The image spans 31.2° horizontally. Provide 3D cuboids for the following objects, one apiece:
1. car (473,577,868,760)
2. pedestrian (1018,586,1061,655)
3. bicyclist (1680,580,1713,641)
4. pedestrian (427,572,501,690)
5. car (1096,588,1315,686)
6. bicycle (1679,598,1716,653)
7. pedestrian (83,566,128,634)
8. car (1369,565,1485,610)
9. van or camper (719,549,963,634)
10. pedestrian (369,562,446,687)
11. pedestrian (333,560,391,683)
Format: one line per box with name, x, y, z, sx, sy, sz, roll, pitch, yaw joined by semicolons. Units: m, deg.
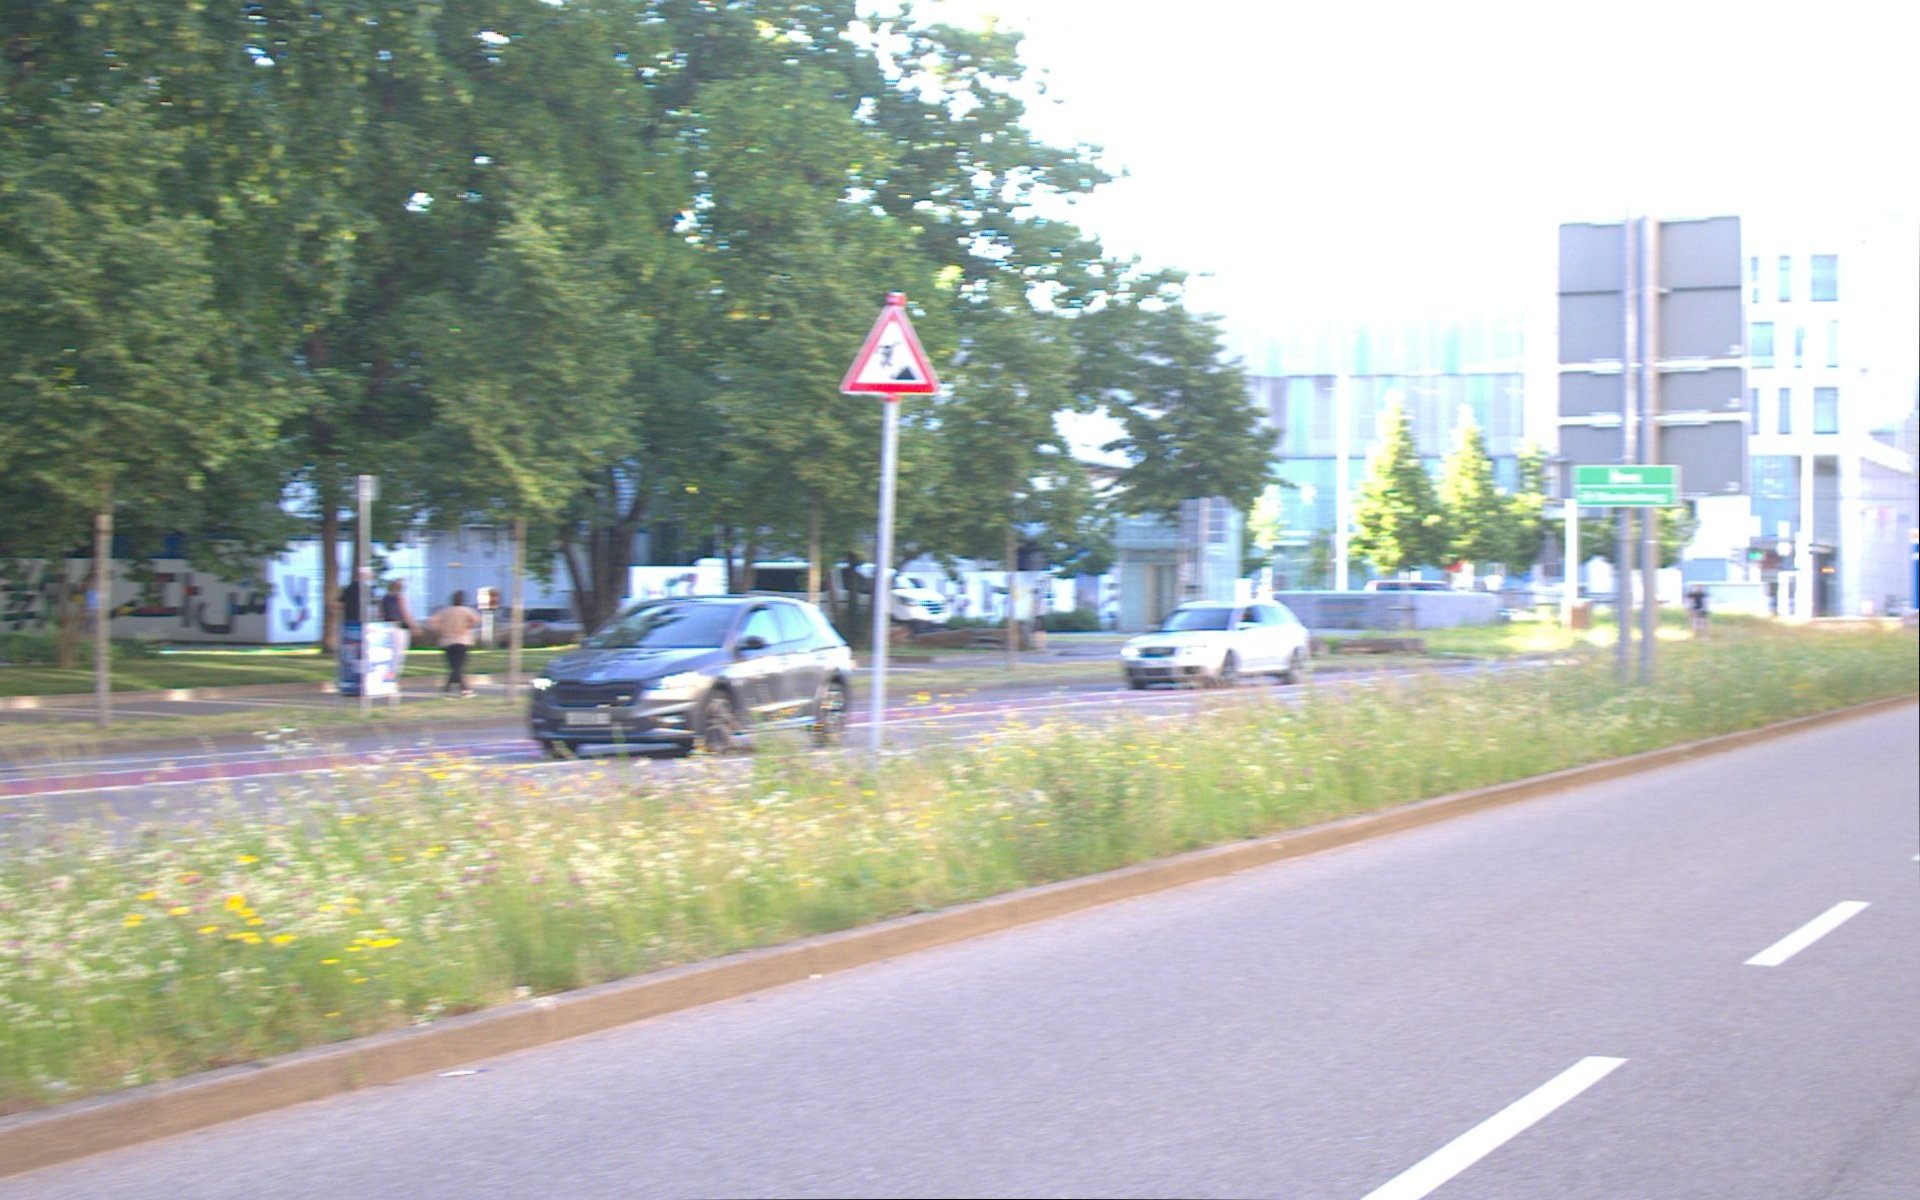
car;-2.576;0.580;31.587;1.996;1.559;4.056;0;0;22
pedestrian;1.772;0.449;76.336;0.613;1.522;0.941;0;1;27
bicyclist;20.457;0.287;95.445;0.747;1.584;1.201;-1;4;18
pedestrian;-6.955;0.426;48.257;0.743;1.635;0.725;0;0;26
car;4.100;0.585;56.654;1.936;1.521;4.580;1;0;27
bicycle;20.468;0.698;95.424;0.758;1.270;2.257;2;6;18
pedestrian;-20.739;-0.009;83.442;0.725;1.635;0.743;0;0;28
car;19.560;-0.512;143.939;4.643;1.804;1.871;0;-2;15
van or camper;-2.972;-0.184;85.858;5.670;2.007;2.255;0;-2;24
pedestrian;-7.800;0.340;48.562;0.772;1.734;0.759;0;0;26
pedestrian;-8.512;0.299;48.920;0.525;1.734;0.654;0;0;26
